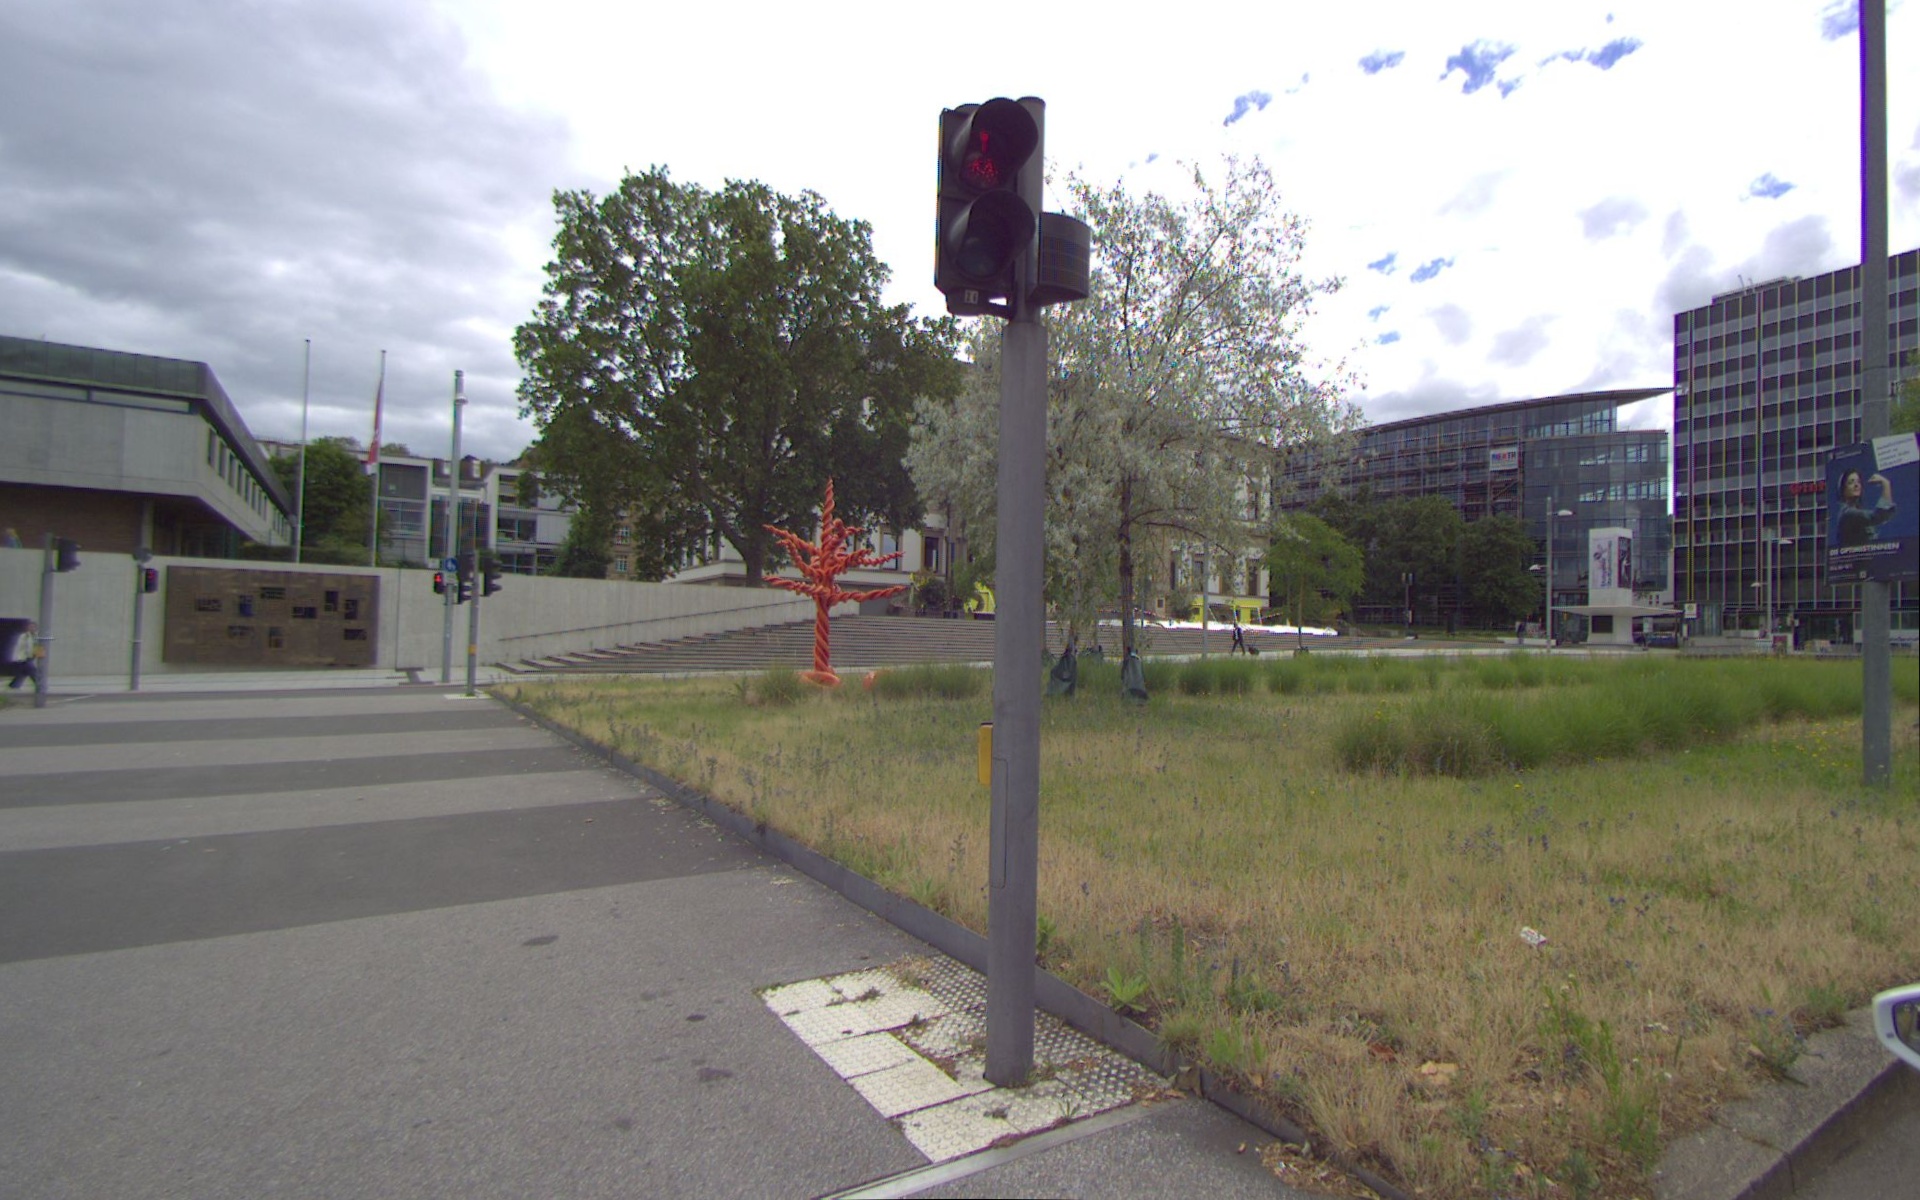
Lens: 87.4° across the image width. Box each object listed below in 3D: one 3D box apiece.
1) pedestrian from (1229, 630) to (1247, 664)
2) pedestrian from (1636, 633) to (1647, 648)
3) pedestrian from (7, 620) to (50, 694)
[{"bbox_3d":[13.833,2.340,49.969,0.643,1.671,0.521,1,0,-32],"label":"pedestrian"},{"bbox_3d":[48.017,2.852,70.780,0.553,1.095,0.472,1,0,-29],"label":"pedestrian"},{"bbox_3d":[-22.647,1.370,24.428,0.656,1.757,0.537,1,0,-30],"label":"pedestrian"}]
